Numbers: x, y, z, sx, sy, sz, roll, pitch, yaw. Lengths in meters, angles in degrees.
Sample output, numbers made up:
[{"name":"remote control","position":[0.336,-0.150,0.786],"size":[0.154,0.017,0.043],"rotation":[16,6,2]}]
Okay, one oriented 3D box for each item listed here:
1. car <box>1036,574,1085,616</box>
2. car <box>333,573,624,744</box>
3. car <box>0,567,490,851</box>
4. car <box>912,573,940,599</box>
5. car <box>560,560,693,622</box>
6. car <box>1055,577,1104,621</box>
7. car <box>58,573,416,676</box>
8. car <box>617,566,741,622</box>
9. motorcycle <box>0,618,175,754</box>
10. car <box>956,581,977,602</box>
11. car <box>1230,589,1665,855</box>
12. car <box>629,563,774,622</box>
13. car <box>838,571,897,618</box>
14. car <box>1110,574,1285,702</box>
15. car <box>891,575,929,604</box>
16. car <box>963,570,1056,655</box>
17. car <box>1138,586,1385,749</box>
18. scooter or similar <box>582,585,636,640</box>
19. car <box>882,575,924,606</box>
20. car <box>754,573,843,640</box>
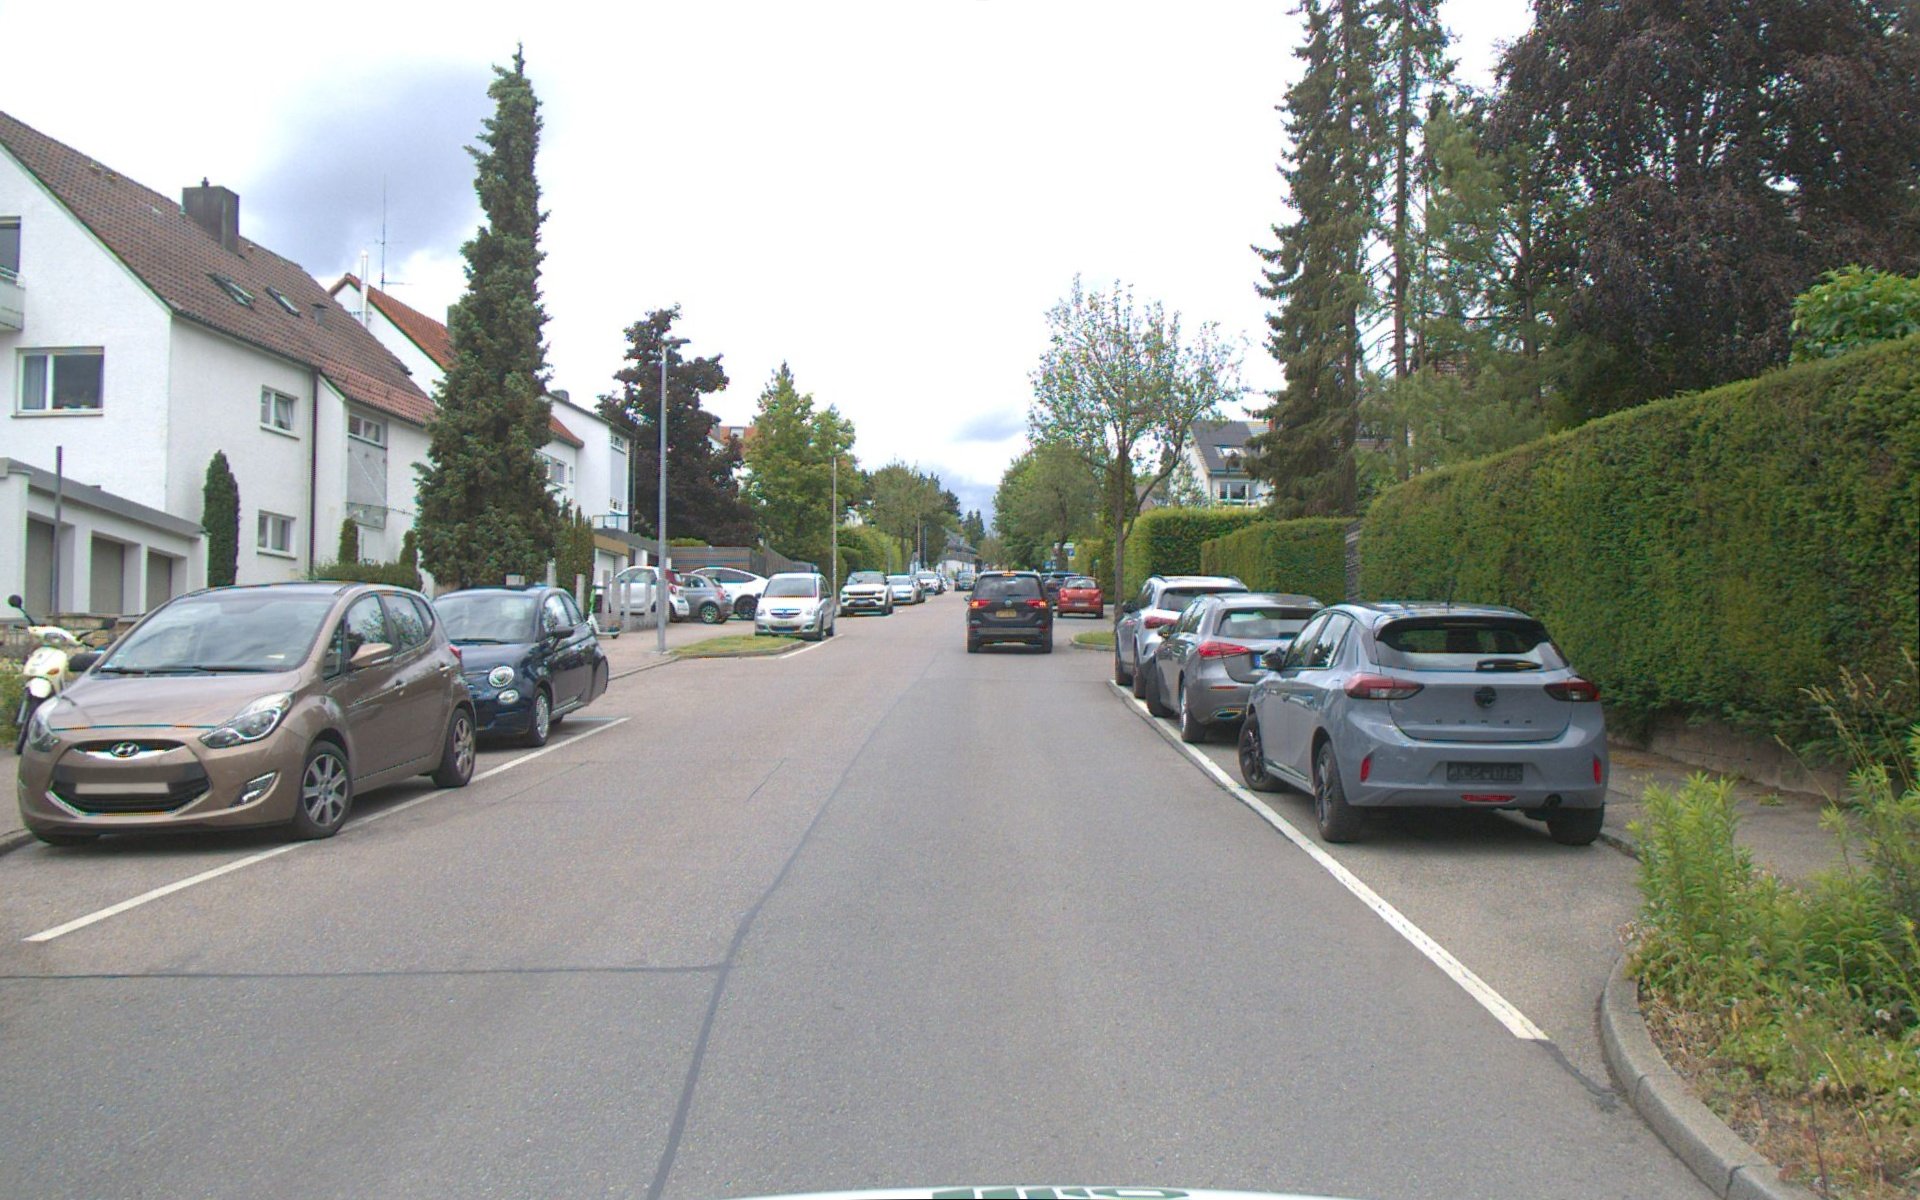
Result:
[{"name":"car","position":[4.233,-0.241,70.253],"size":[1.952,1.646,4.515],"rotation":[2,0,2]},{"name":"car","position":[-4.746,0.513,16.832],"size":[1.838,1.563,3.508],"rotation":[0,1,2]},{"name":"car","position":[-4.753,0.595,11.337],"size":[1.838,1.612,3.873],"rotation":[0,1,2]},{"name":"car","position":[-2.151,-0.898,106.025],"size":[1.687,1.567,4.000],"rotation":[-1,1,-1]},{"name":"car","position":[-9.491,-0.245,47.224],"size":[3.358,1.605,1.657],"rotation":[3,0,3]},{"name":"car","position":[4.360,-0.066,60.620],"size":[1.626,1.534,3.759],"rotation":[0,1,2]},{"name":"car","position":[-10.087,0.316,23.349],"size":[4.201,1.391,1.903],"rotation":[0,1,-4]},{"name":"car","position":[-8.519,-0.173,50.285],"size":[3.358,1.538,1.693],"rotation":[3,0,3]},{"name":"motorcycle","position":[-8.093,0.766,15.397],"size":[0.420,1.181,1.864],"rotation":[-1,-1,9]},{"name":"car","position":[0.611,-0.838,156.614],"size":[1.846,1.883,4.402],"rotation":[-1,1,1]},{"name":"car","position":[3.122,0.687,11.479],"size":[1.817,1.489,4.000],"rotation":[1,0,0]},{"name":"car","position":[-8.409,-0.249,54.052],"size":[4.321,1.657,1.911],"rotation":[3,1,1]},{"name":"car","position":[-3.483,-0.228,62.954],"size":[1.799,1.695,4.410],"rotation":[-1,1,2]},{"name":"car","position":[3.226,0.469,23.208],"size":[1.817,1.609,4.172],"rotation":[1,0,0]},{"name":"car","position":[-2.585,-0.553,86.564],"size":[1.691,1.448,4.080],"rotation":[-1,0,2]},{"name":"car","position":[1.079,0.231,34.750],"size":[1.809,1.639,4.313],"rotation":[1,0,3]},{"name":"car","position":[3.037,0.615,17.490],"size":[1.817,1.489,4.172],"rotation":[1,0,0]},{"name":"scooter or similar","position":[-7.726,0.273,36.440],"size":[0.464,1.168,1.455],"rotation":[2,1,17]},{"name":"car","position":[-2.774,-0.487,81.627],"size":[1.799,1.447,4.409],"rotation":[-1,1,1]},{"name":"car","position":[-3.976,0.128,41.185],"size":[1.724,1.590,3.856],"rotation":[-1,1,1]}]
